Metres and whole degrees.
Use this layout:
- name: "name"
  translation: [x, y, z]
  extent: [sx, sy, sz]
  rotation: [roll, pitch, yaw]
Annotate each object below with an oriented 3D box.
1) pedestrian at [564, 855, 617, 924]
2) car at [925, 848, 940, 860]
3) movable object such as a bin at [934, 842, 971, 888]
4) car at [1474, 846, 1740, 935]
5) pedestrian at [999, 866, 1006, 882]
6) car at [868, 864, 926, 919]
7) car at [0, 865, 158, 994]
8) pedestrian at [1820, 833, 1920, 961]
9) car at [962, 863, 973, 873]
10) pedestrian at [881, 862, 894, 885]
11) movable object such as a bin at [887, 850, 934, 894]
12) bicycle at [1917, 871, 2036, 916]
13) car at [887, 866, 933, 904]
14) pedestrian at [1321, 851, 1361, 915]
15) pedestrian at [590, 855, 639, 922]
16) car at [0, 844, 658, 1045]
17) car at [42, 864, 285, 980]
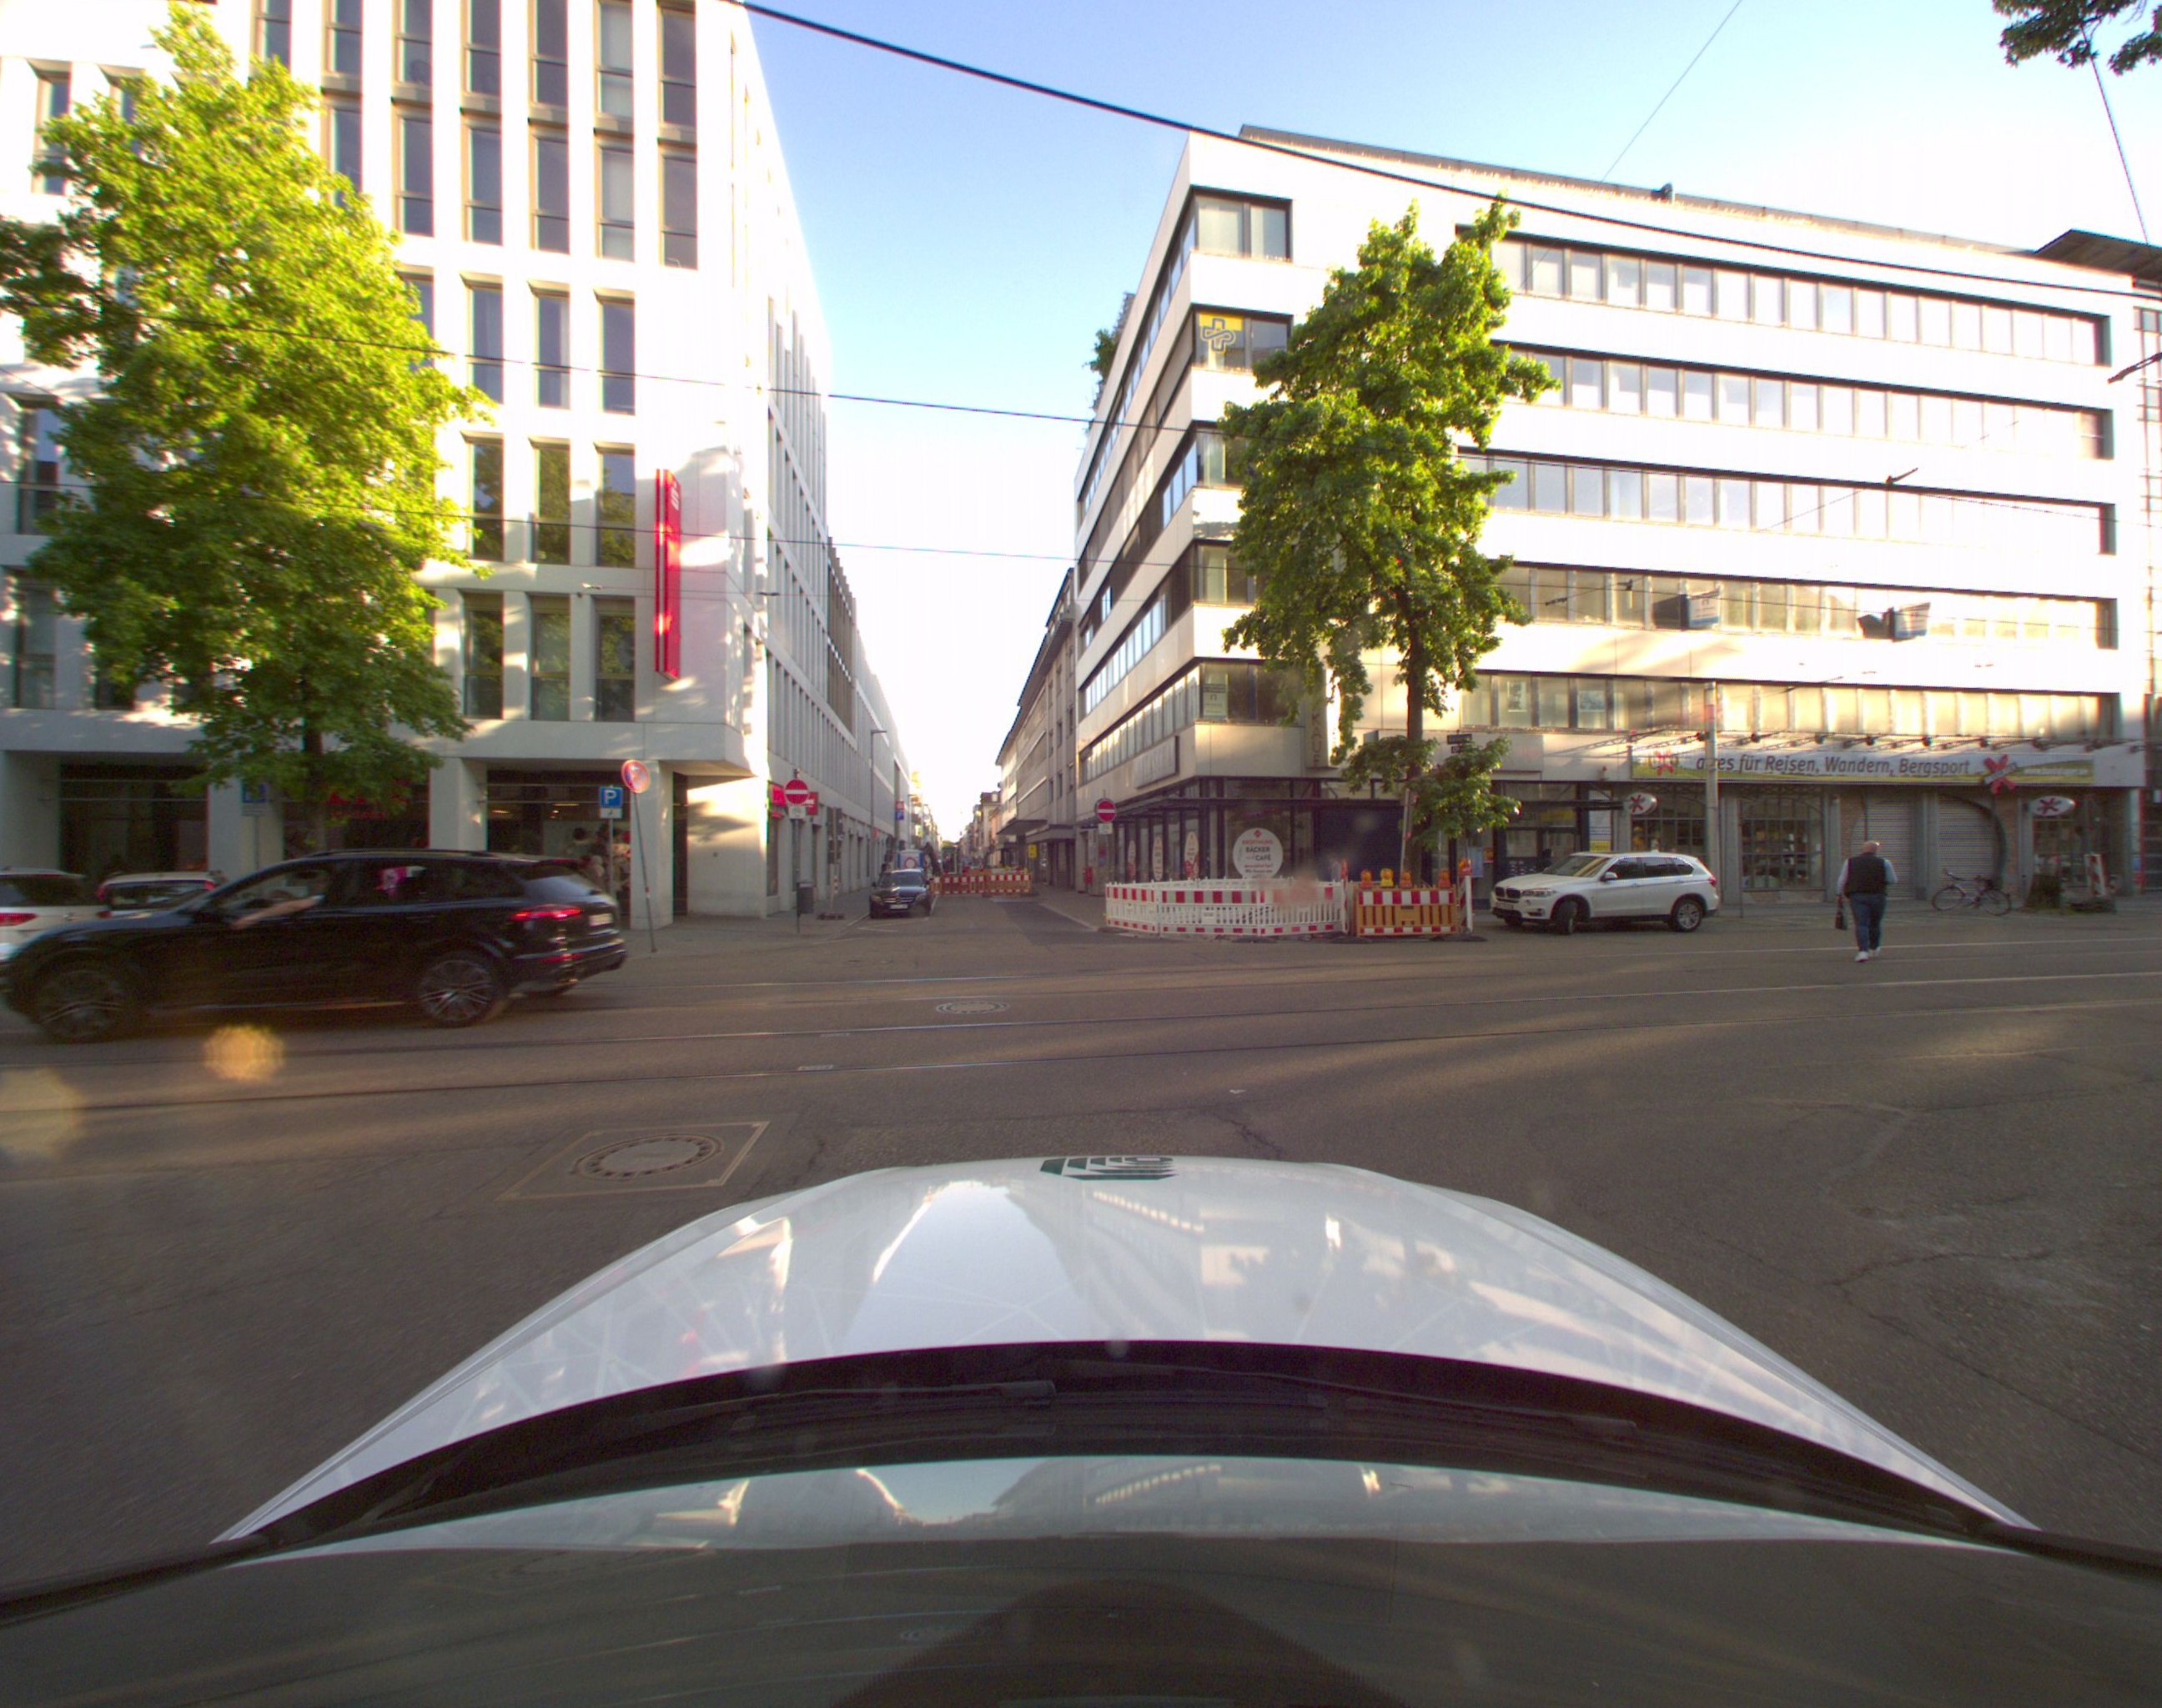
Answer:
- name: "pedestrian"
  translation: [-11.828, 0.845, 19.659]
  extent: [0.869, 1.627, 0.610]
  rotation: [-1, 0, -7]
- name: "car"
  translation: [-21.620, 0.017, 118.708]
  extent: [1.993, 1.776, 3.988]
  rotation: [-1, 0, -9]
- name: "movable object such as a bin"
  translation: [-7.984, 0.663, 50.637]
  extent: [2.156, 2.664, 4.558]
  rotation: [-1, -1, -9]
- name: "car"
  translation: [11.634, 0.735, 18.154]
  extent: [4.929, 1.775, 2.016]
  rotation: [0, 2, -10]
- name: "pedestrian"
  translation: [-7.487, 1.907, 77.628]
  extent: [0.522, 1.464, 0.718]
  rotation: [0, -1, -1]
- name: "car"
  translation: [-5.725, 1.110, 25.490]
  extent: [1.630, 1.550, 3.129]
  rotation: [-1, 0, -12]
- name: "car"
  translation: [-15.480, 0.985, 10.645]
  extent: [4.269, 1.593, 1.822]
  rotation: [-1, -2, -9]
- name: "pedestrian"
  translation: [11.560, 0.603, 11.973]
  extent: [0.795, 1.776, 1.079]
  rotation: [-2, -1, 32]
- name: "car"
  translation: [-22.806, 2.807, 163.295]
  extent: [1.993, 1.776, 3.988]
  rotation: [-1, 0, -9]
- name: "pedestrian"
  translation: [-12.659, 1.299, 53.368]
  extent: [0.715, 1.464, 0.524]
  rotation: [-1, 0, -7]
- name: "movable object such as a bin"
  translation: [-8.467, 0.854, 40.696]
  extent: [1.993, 2.013, 3.988]
  rotation: [-1, 0, -8]
- name: "bicycle"
  translation: [23.002, 0.982, 20.982]
  extent: [0.667, 0.952, 2.020]
  rotation: [-1, 2, -11]
- name: "car"
  translation: [-7.241, 1.264, 34.501]
  extent: [1.791, 1.451, 3.129]
  rotation: [-1, 0, -12]
- name: "pedestrian"
  translation: [6.391, 0.701, 20.038]
  extent: [0.705, 1.549, 0.576]
  rotation: [-1, -1, -12]
- name: "pedestrian"
  translation: [-11.653, 0.843, 20.361]
  extent: [0.869, 1.627, 0.610]
  rotation: [-1, 0, -7]
- name: "car"
  translation: [-7.380, 0.792, 8.395]
  extent: [4.929, 1.726, 2.015]
  rotation: [0, -1, -10]
- name: "car"
  translation: [-15.901, 1.055, 14.408]
  extent: [1.960, 1.505, 3.954]
  rotation: [-3, 3, -36]
